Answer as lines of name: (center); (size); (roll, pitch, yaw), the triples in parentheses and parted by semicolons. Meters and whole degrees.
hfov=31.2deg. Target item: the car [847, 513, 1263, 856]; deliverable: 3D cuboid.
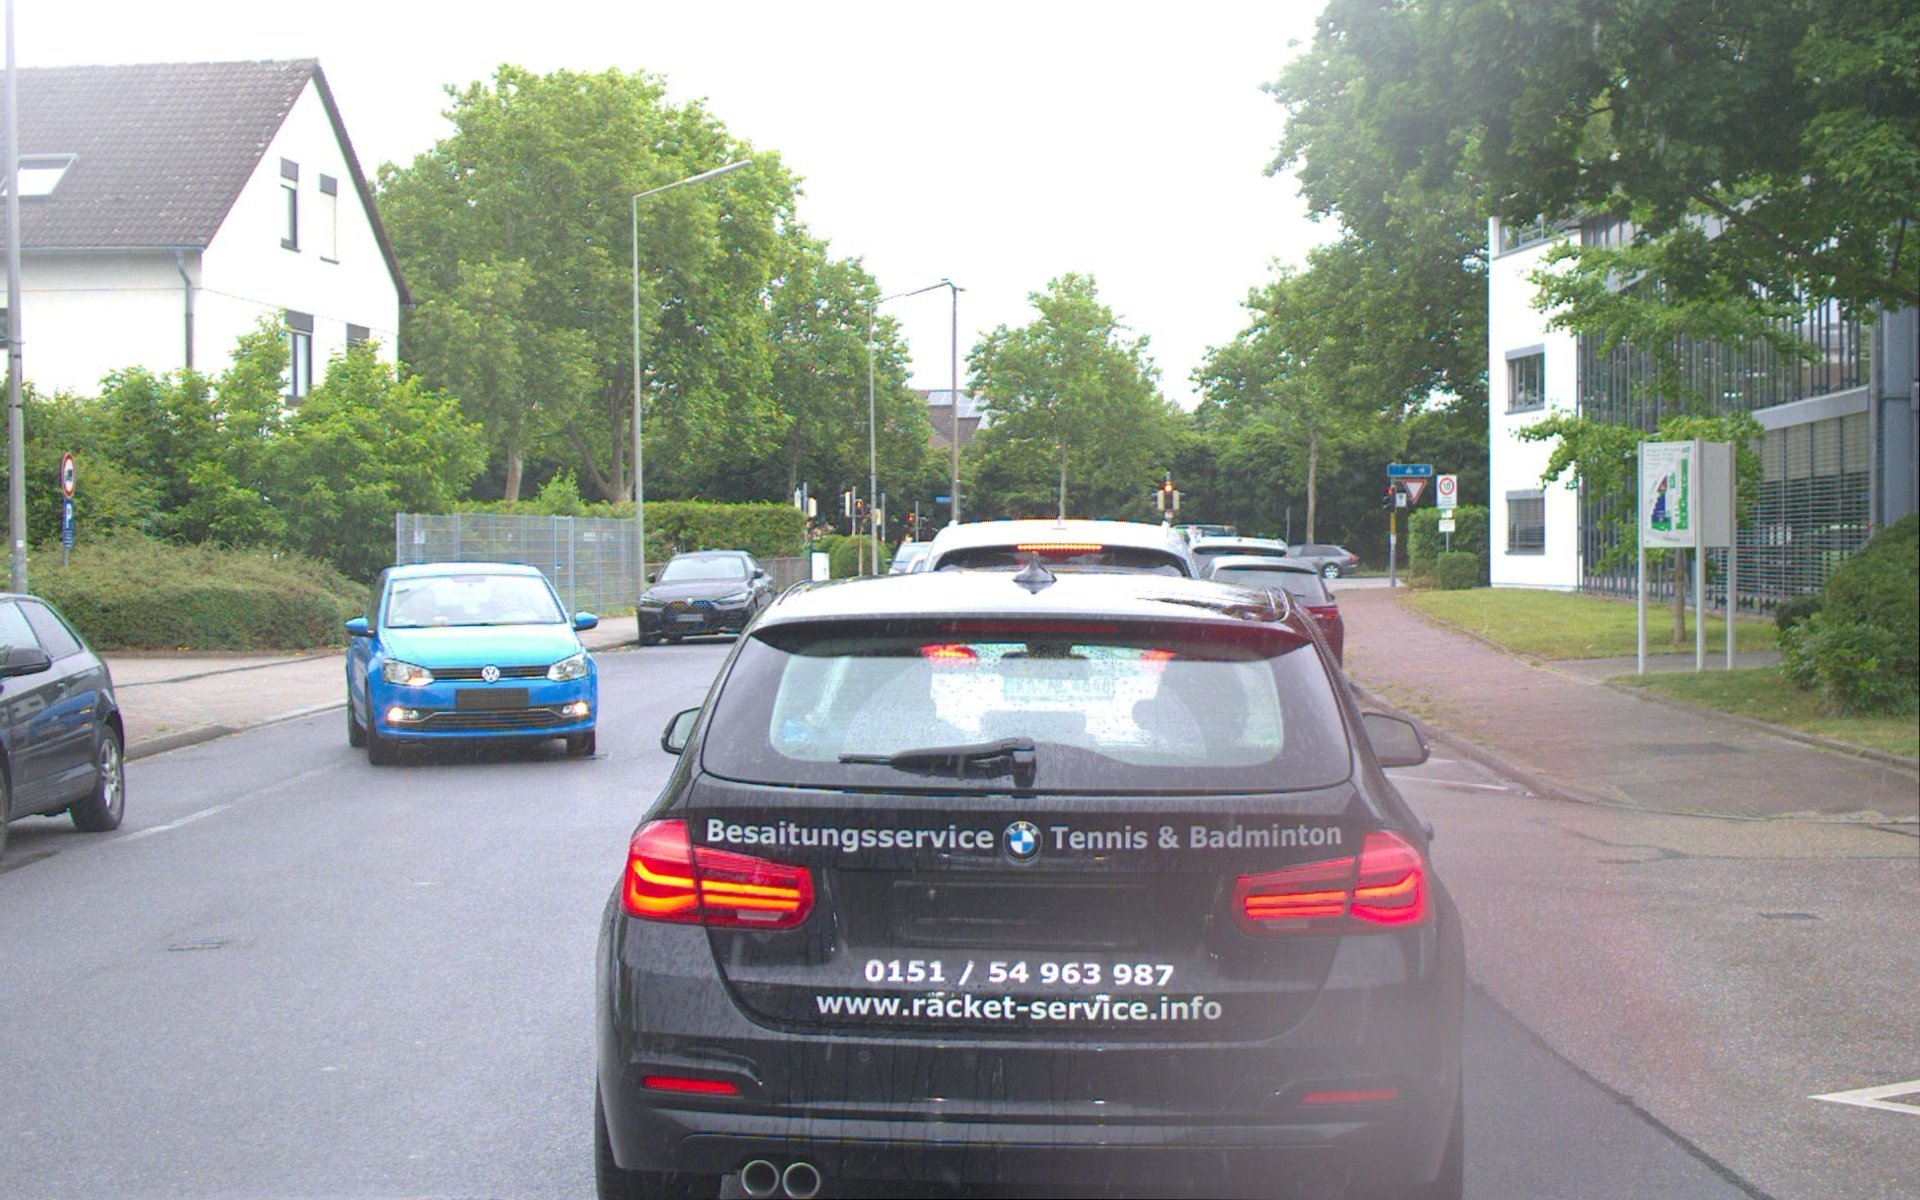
car: (0.378, 0.374, 17.956); (1.804, 1.581, 4.001); (0, 1, -4)

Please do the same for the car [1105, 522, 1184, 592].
car: (4.290, -1.014, 80.094); (1.804, 1.581, 4.000); (0, 1, 3)

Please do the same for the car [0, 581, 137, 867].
car: (-5.651, 0.652, 18.164); (1.705, 1.362, 3.838); (-3, 1, -1)

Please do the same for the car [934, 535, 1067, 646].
car: (0.646, -0.159, 51.339); (1.804, 1.581, 4.000); (1, 1, 3)

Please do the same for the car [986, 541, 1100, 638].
car: (1.436, -0.194, 58.294); (1.804, 1.581, 4.000); (1, 1, 3)

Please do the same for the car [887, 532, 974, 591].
car: (-0.723, -0.988, 86.795); (1.706, 1.362, 3.837); (-2, 1, 6)

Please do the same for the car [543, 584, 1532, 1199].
car: (0.026, 0.675, 8.278); (1.804, 1.390, 4.001); (0, 1, -4)

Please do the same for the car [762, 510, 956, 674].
car: (-0.986, -0.096, 35.408); (1.804, 1.581, 4.000); (0, 1, 1)

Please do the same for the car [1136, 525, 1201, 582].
car: (5.924, -1.333, 98.114); (1.804, 1.581, 4.000); (0, 1, 3)

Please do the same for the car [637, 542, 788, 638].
car: (-3.907, -0.187, 54.909); (1.706, 1.362, 3.837); (-2, 1, 6)

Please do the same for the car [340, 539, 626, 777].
car: (-3.680, 0.378, 26.036); (1.705, 1.589, 3.839); (-3, 1, -13)

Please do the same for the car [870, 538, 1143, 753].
car: (0.296, 0.318, 27.400); (1.804, 1.581, 4.001); (0, 1, -4)

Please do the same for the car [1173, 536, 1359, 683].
car: (3.428, 0.082, 39.150); (1.804, 1.581, 4.000); (0, 1, 1)

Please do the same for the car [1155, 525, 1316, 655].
car: (3.501, -0.145, 44.257); (1.804, 1.581, 4.000); (0, 1, 1)
